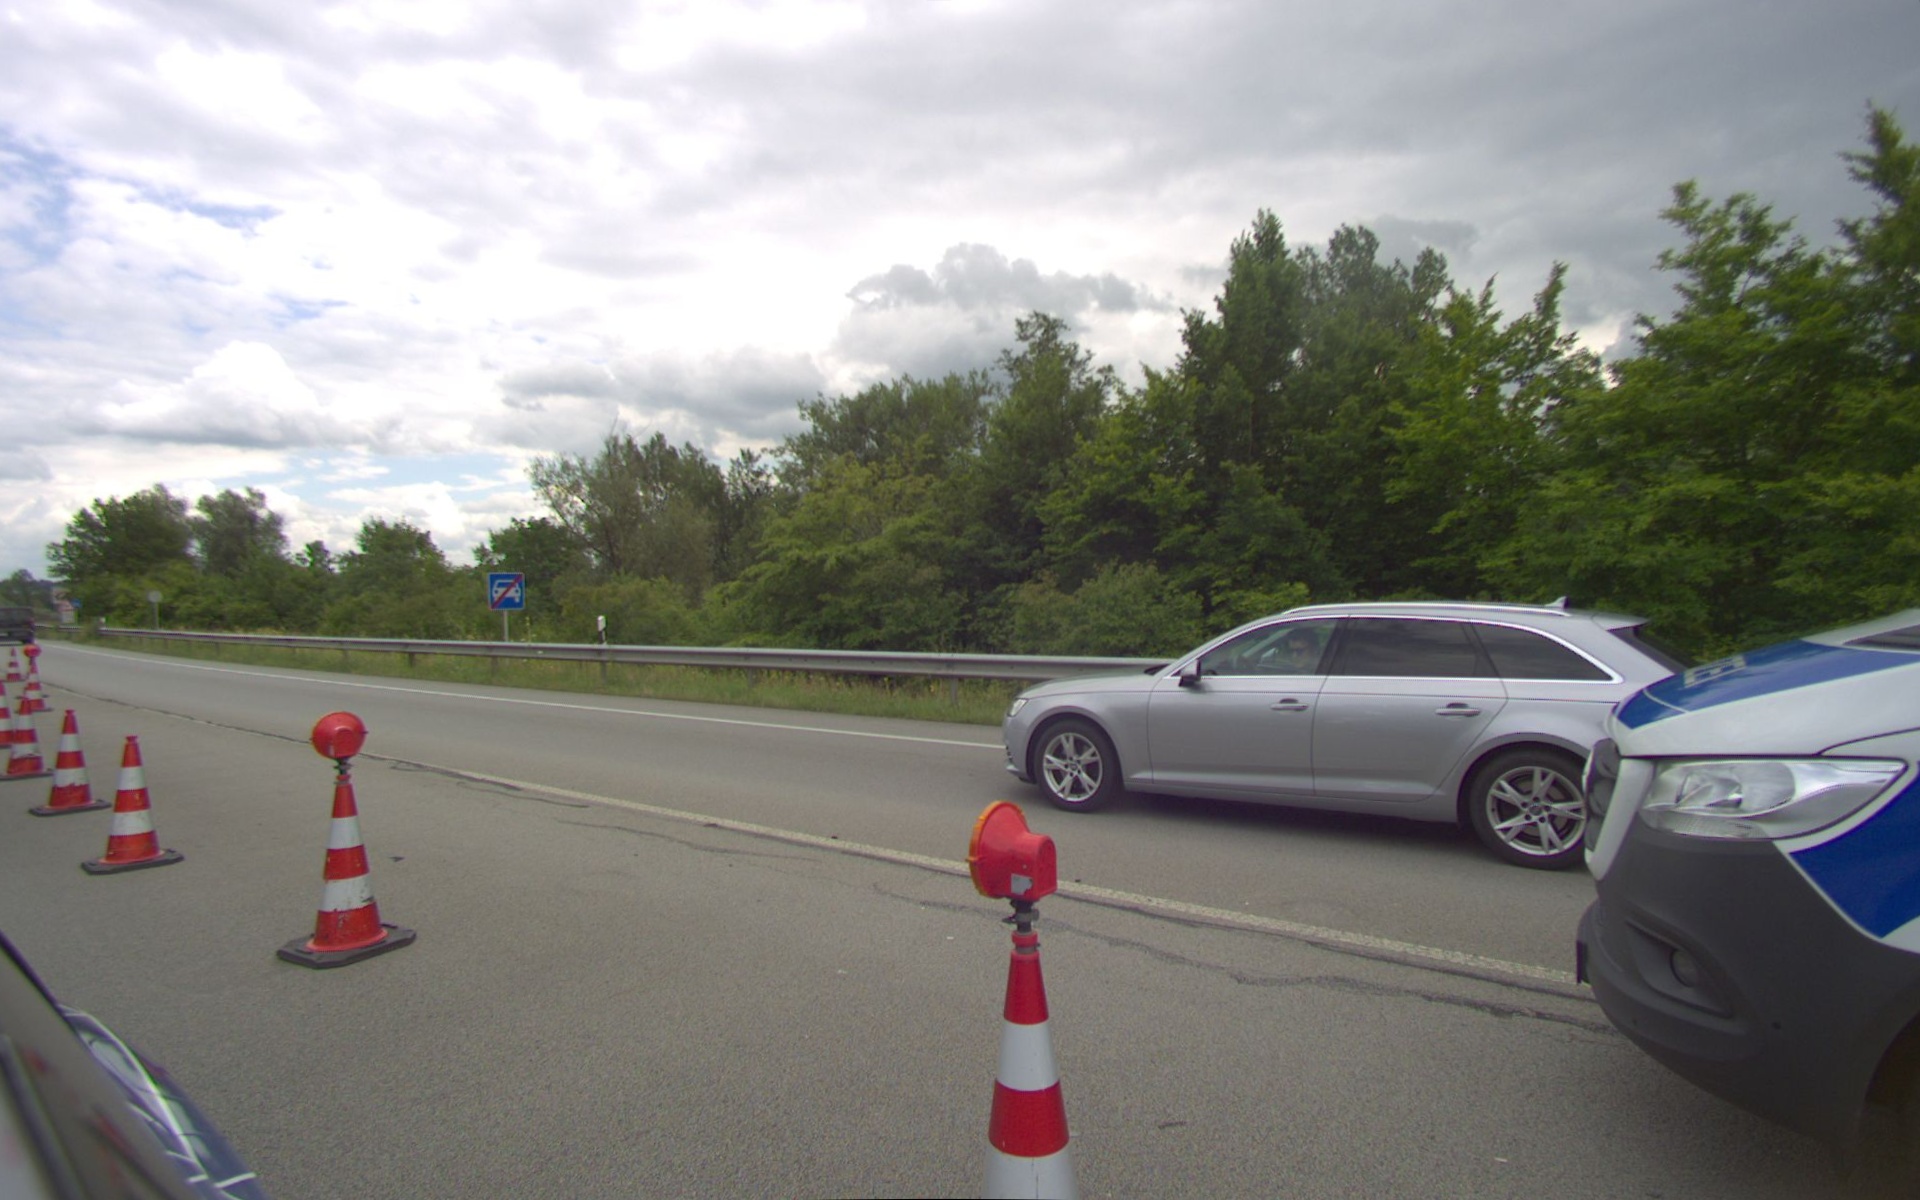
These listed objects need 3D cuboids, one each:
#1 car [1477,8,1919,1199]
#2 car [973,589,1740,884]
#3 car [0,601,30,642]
[{"bbox_3d":[3.893,0.108,1.509,5.271,2.482,2.010,-1,-1,38],"label":"car"},{"bbox_3d":[2.367,0.685,6.768,4.362,1.412,1.665,-1,-1,34],"label":"car"},{"bbox_3d":[-48.685,1.091,51.228,5.316,2.002,2.007,-1,-1,43],"label":"car"}]
